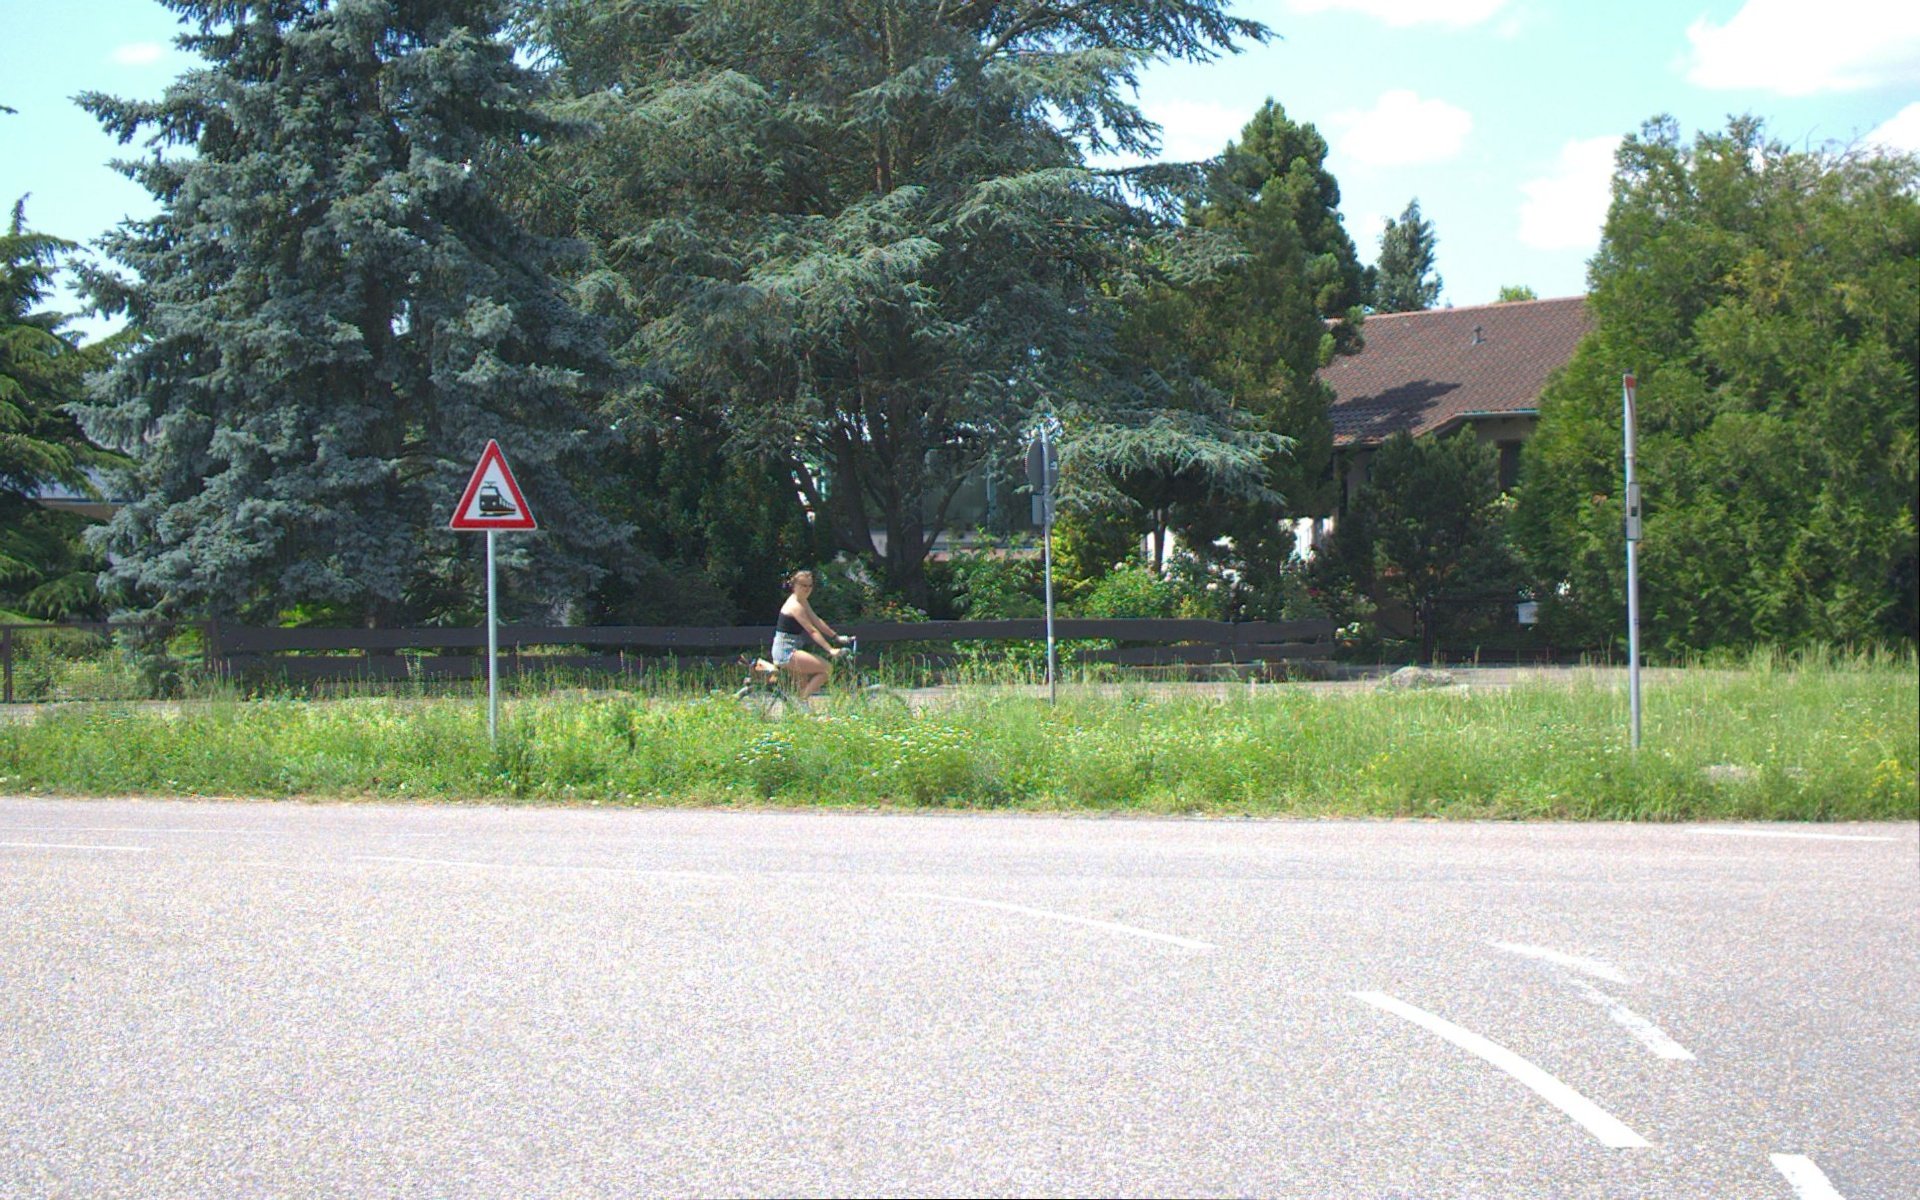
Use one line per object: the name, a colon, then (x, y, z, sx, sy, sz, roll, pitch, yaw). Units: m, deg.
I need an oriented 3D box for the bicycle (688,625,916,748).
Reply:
bicycle: (-1.522, 0.828, 33.289, 2.140, 1.161, 0.661, 0, 1, 5)

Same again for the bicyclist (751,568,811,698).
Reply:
bicyclist: (-1.733, 0.317, 33.276, 0.510, 1.251, 0.469, 0, 0, 6)
